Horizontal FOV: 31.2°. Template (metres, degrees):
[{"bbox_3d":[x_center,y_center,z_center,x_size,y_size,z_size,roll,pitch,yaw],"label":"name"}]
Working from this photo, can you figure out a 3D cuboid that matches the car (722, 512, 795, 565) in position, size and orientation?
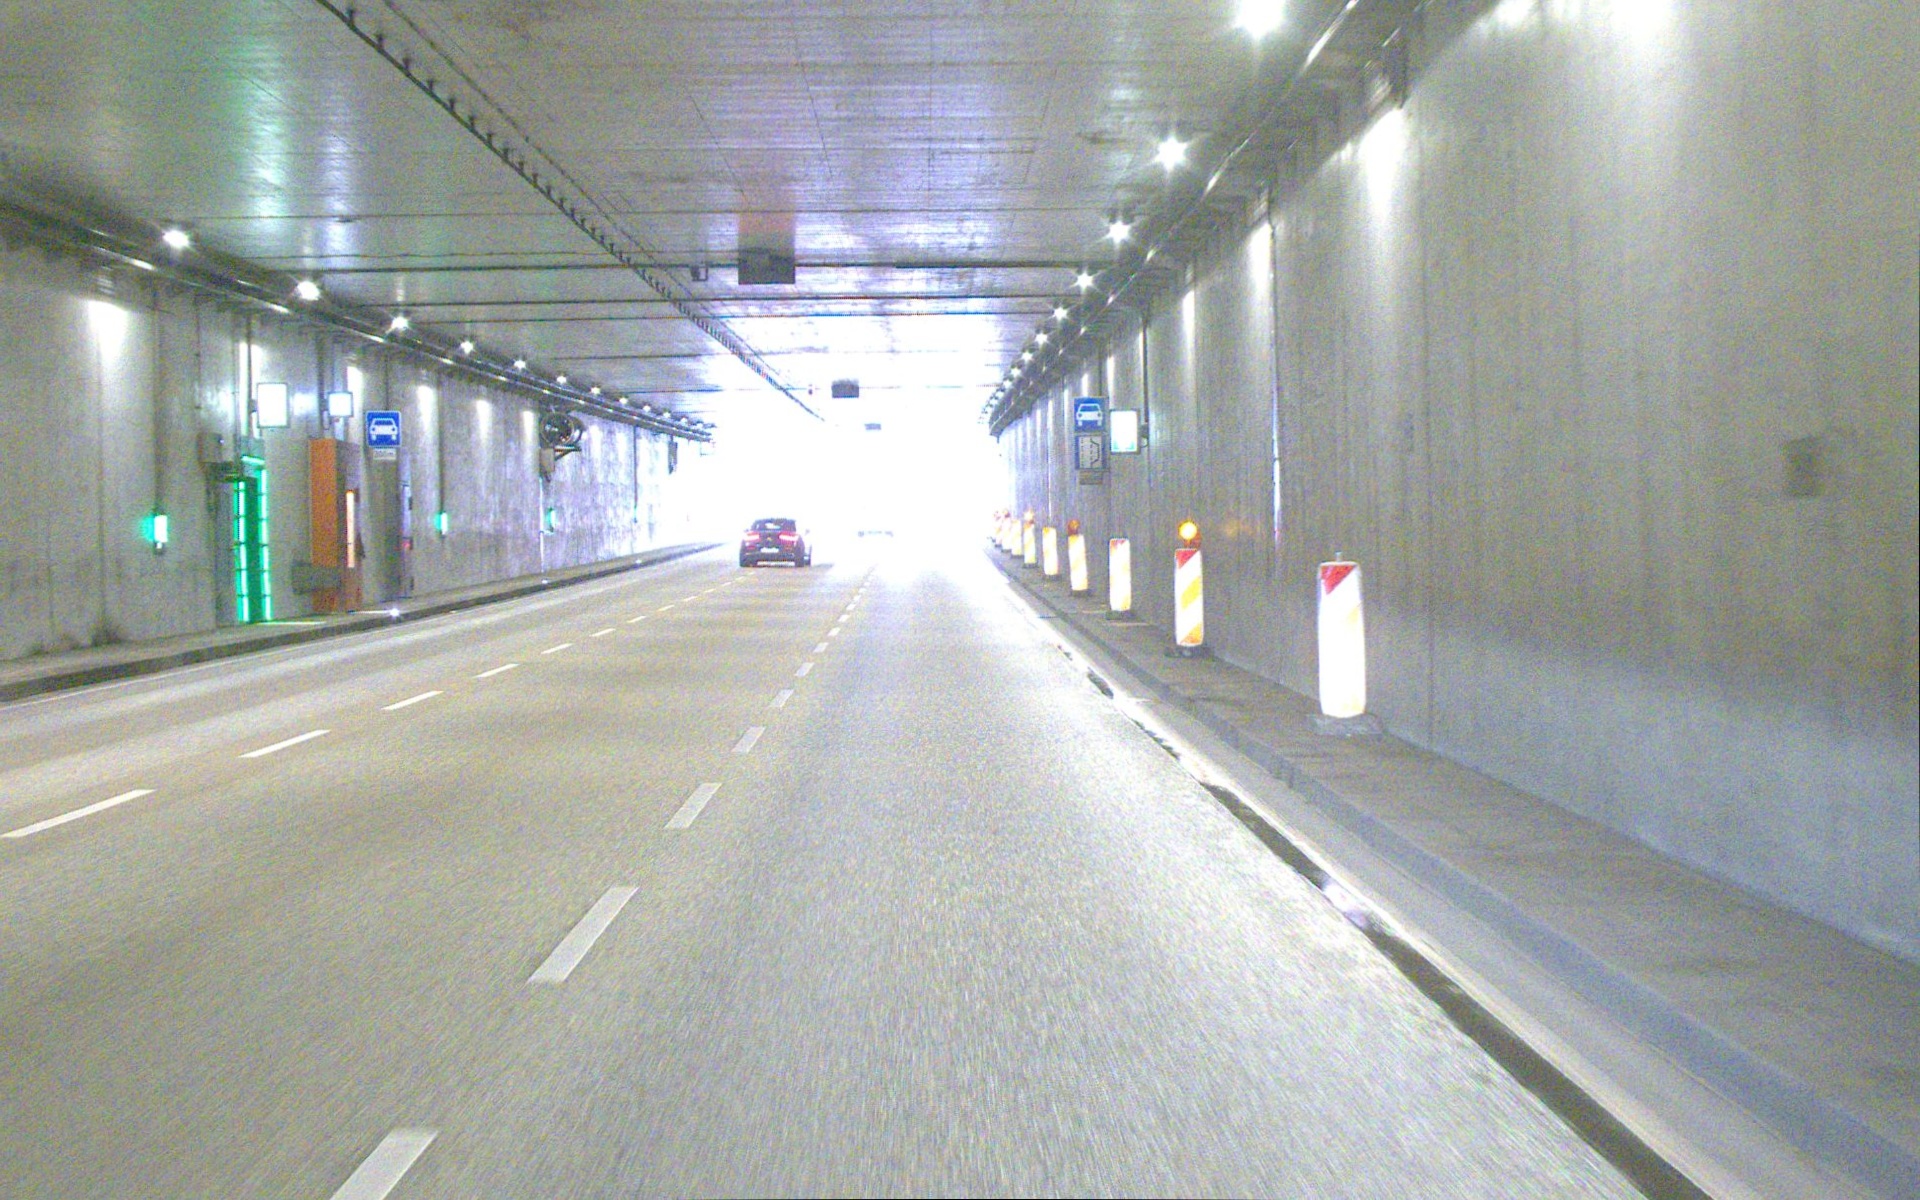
[{"bbox_3d":[-5.897,-1.792,100.164,1.993,1.443,4.315,2,1,-4],"label":"car"}]

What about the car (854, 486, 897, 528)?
[{"bbox_3d":[-4.129,-4.562,168.926,1.993,2.007,4.000,1,1,0],"label":"car"}]

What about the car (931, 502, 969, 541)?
[{"bbox_3d":[-0.561,-4.192,183.785,1.993,2.007,4.000,1,1,0],"label":"car"}]
